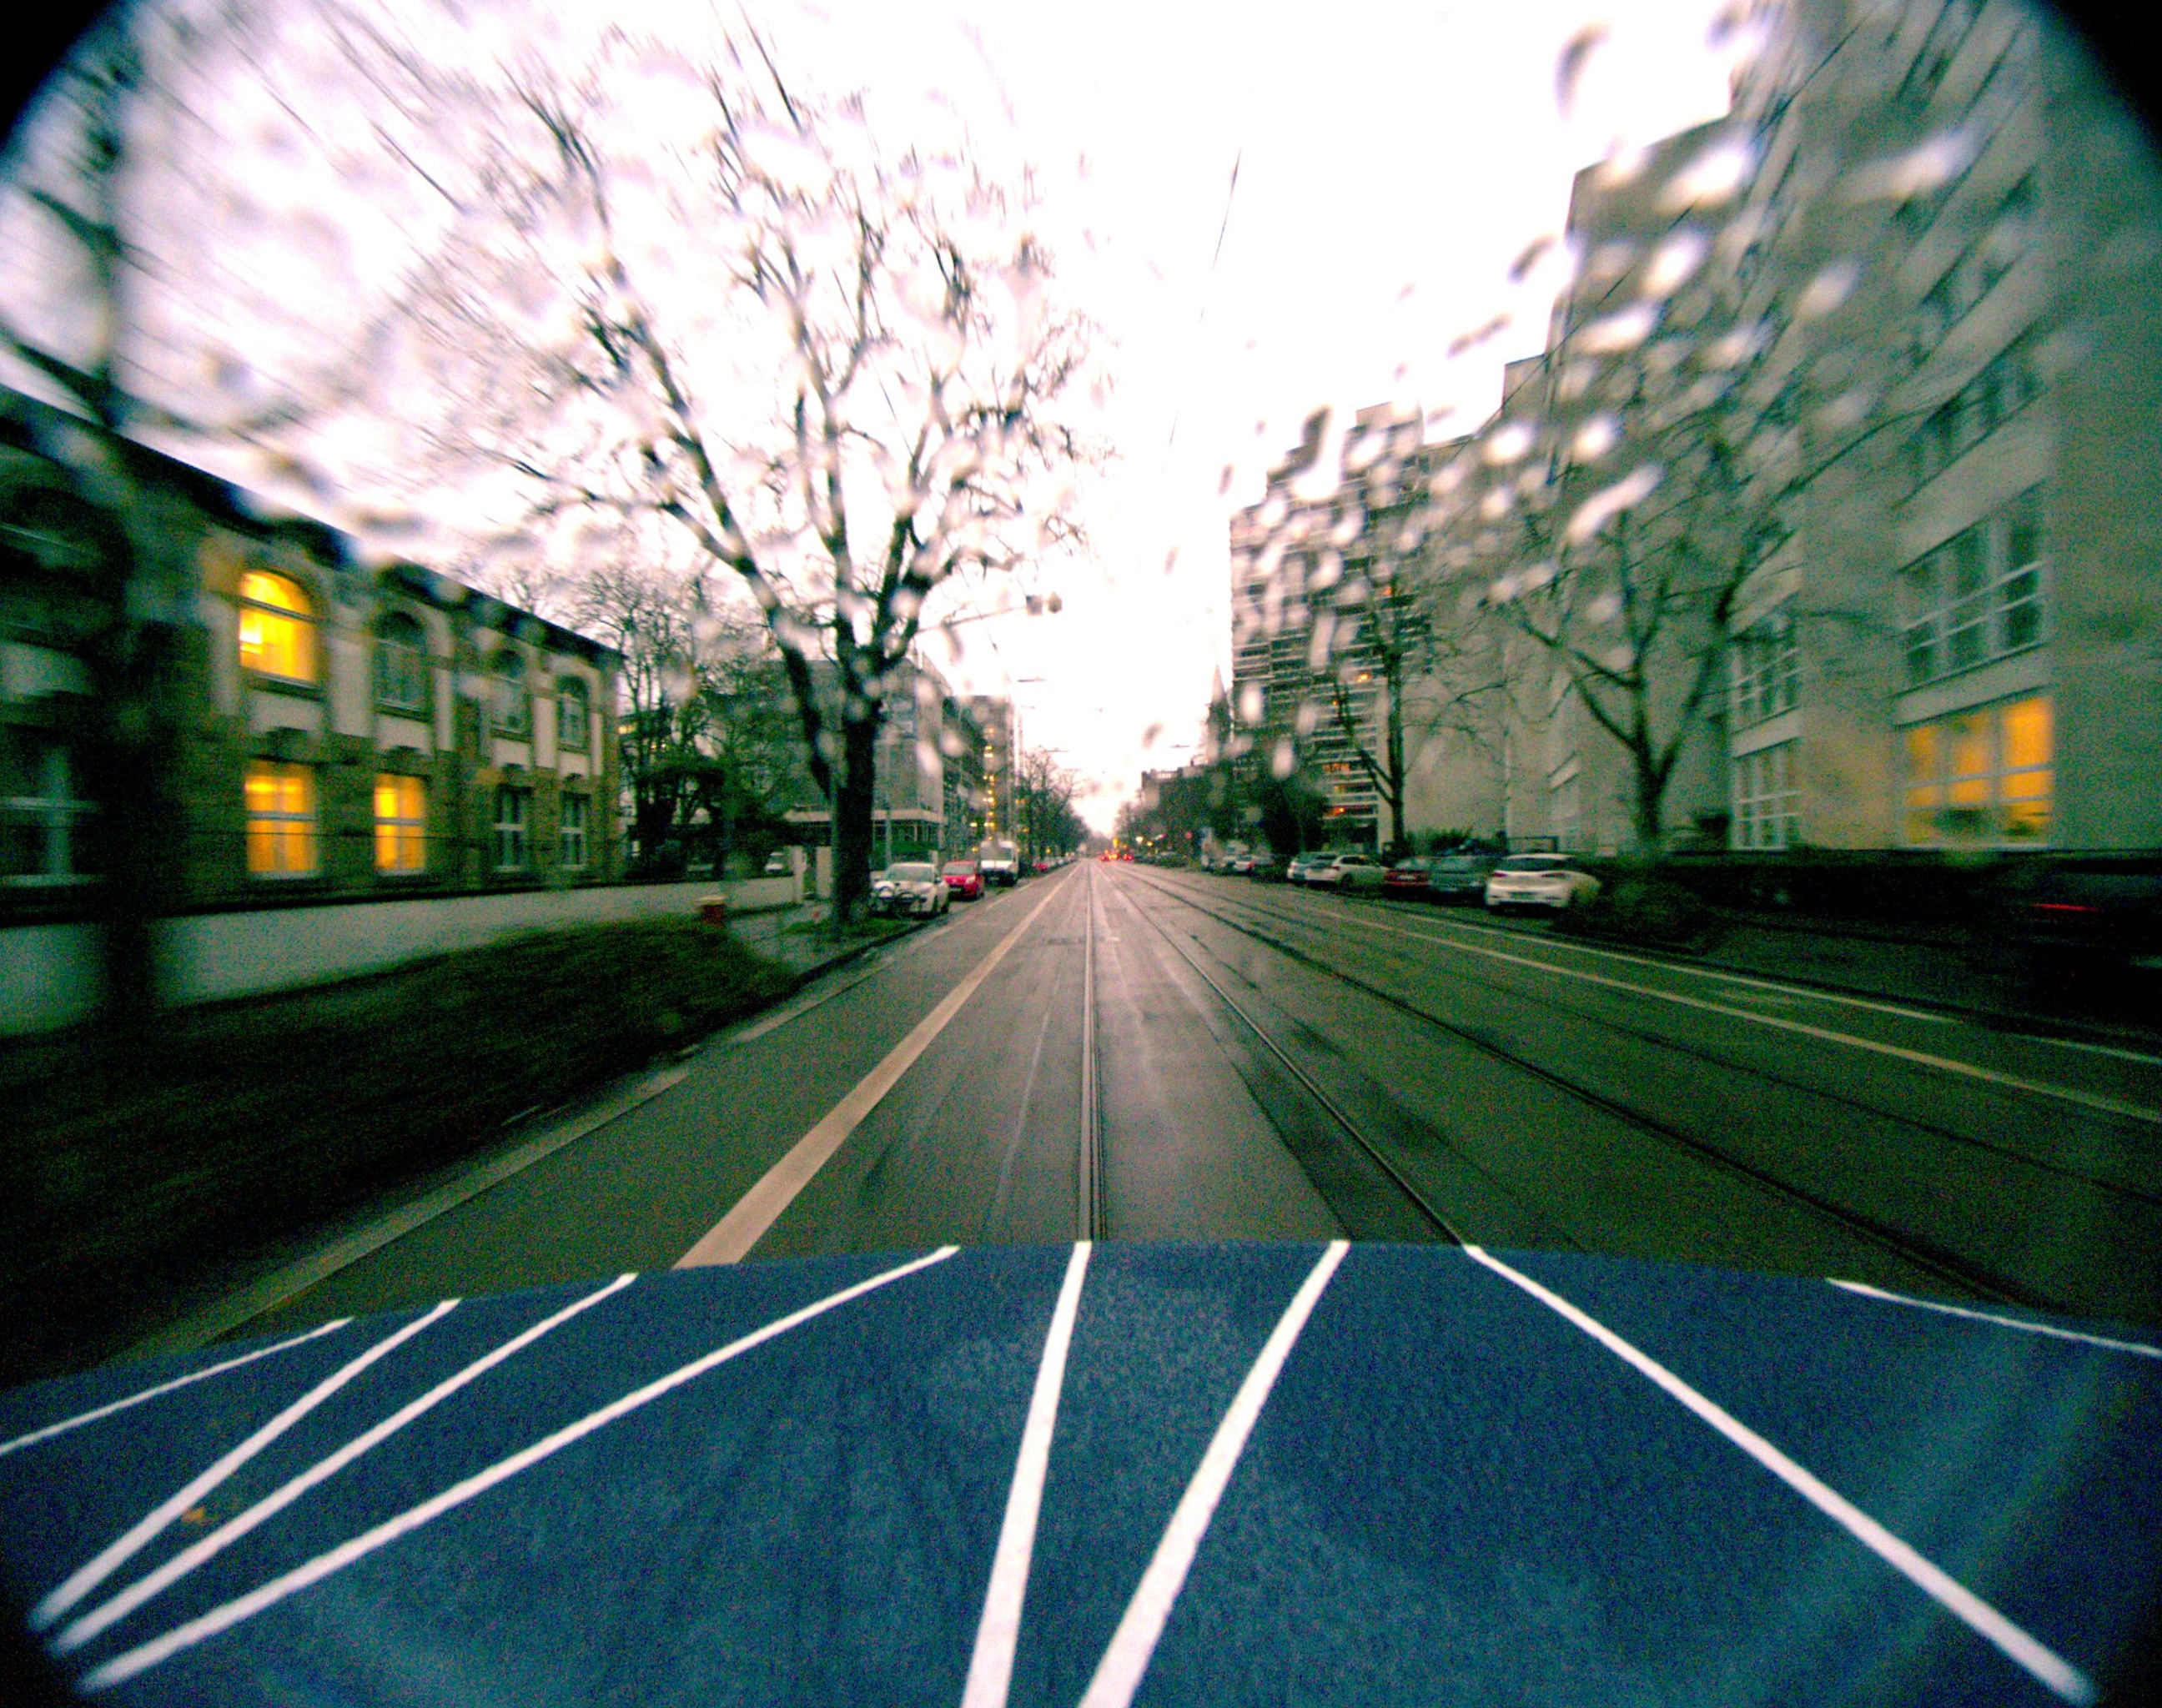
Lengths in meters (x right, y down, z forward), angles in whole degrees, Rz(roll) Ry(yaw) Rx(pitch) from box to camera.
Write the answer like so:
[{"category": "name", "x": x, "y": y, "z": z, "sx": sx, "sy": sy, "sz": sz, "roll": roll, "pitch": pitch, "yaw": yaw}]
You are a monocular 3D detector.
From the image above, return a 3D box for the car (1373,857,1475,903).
[{"category": "car", "x": 11.325, "y": 0.792, "z": 24.934, "sx": 1.744, "sy": 1.344, "sz": 4.357, "roll": 1, "pitch": 1, "yaw": 43}]

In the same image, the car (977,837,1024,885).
[{"category": "car", "x": -4.325, "y": 0.379, "z": 41.706, "sx": 2.130, "sy": 2.472, "sz": 5.438, "roll": 0, "pitch": 0, "yaw": -2}]

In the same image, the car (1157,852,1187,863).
[{"category": "car", "x": 12.250, "y": 0.437, "z": 102.046, "sx": 3.995, "sy": 1.477, "sz": 1.673, "roll": 0, "pitch": 0, "yaw": 7}]

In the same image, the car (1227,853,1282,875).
[{"category": "car", "x": 11.766, "y": 0.641, "z": 51.410, "sx": 1.788, "sy": 1.437, "sz": 4.009, "roll": -1, "pitch": 0, "yaw": 45}]

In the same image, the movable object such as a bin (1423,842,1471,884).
[{"category": "movable object such as a bin", "x": 16.783, "y": 0.421, "z": 34.890, "sx": 1.573, "sy": 1.849, "sz": 1.318, "roll": 0, "pitch": -1, "yaw": 2}]

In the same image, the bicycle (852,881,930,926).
[{"category": "bicycle", "x": -4.632, "y": 1.206, "z": 18.561, "sx": 1.717, "sy": 1.064, "sz": 0.663, "roll": 0, "pitch": 0, "yaw": 1}]

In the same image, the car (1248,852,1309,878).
[{"category": "car", "x": 11.665, "y": 0.635, "z": 44.802, "sx": 3.862, "sy": 1.484, "sz": 1.691, "roll": 0, "pitch": 0, "yaw": -43}]

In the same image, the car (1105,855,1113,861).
[{"category": "car", "x": 6.572, "y": 0.966, "z": 178.211, "sx": 1.752, "sy": 1.535, "sz": 4.296, "roll": 0, "pitch": 0, "yaw": 1}]

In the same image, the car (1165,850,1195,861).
[{"category": "car", "x": 13.753, "y": 0.220, "z": 105.578, "sx": 3.995, "sy": 1.477, "sz": 1.673, "roll": 0, "pitch": 0, "yaw": 7}]

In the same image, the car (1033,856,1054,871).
[{"category": "car", "x": -3.699, "y": 0.945, "z": 75.120, "sx": 1.753, "sy": 1.379, "sz": 3.737, "roll": 0, "pitch": 0, "yaw": 2}]

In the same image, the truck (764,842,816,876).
[{"category": "truck", "x": -23.314, "y": 0.348, "z": 61.137, "sx": 2.132, "sy": 2.573, "sz": 7.075, "roll": 0, "pitch": 1, "yaw": -6}]

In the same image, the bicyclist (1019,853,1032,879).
[{"category": "bicyclist", "x": -3.671, "y": 0.763, "z": 49.961, "sx": 0.771, "sy": 1.679, "sz": 0.706, "roll": 0, "pitch": 0, "yaw": -13}]

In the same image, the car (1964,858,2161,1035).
[{"category": "car", "x": 10.661, "y": 0.797, "z": 7.805, "sx": 4.008, "sy": 1.462, "sz": 1.826, "roll": -1, "pitch": 0, "yaw": -44}]

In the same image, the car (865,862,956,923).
[{"category": "car", "x": -4.609, "y": 0.998, "z": 21.044, "sx": 1.696, "sy": 1.511, "sz": 3.637, "roll": 0, "pitch": 0, "yaw": 0}]

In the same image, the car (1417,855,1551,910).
[{"category": "car", "x": 11.770, "y": 0.755, "z": 22.133, "sx": 4.007, "sy": 1.455, "sz": 1.732, "roll": 0, "pitch": 1, "yaw": -34}]

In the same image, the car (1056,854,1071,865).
[{"category": "car", "x": -2.639, "y": 0.842, "z": 114.983, "sx": 1.866, "sy": 1.584, "sz": 4.001, "roll": 0, "pitch": 0, "yaw": 3}]

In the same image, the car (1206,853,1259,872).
[{"category": "car", "x": 11.516, "y": 0.628, "z": 57.594, "sx": 4.008, "sy": 1.370, "sz": 1.851, "roll": 0, "pitch": 0, "yaw": -41}]

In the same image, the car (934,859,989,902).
[{"category": "car", "x": -4.608, "y": 0.990, "z": 29.729, "sx": 1.647, "sy": 1.514, "sz": 3.572, "roll": -1, "pitch": 0, "yaw": -2}]

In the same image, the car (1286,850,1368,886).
[{"category": "car", "x": 11.222, "y": 0.618, "z": 34.545, "sx": 4.008, "sy": 1.554, "sz": 1.732, "roll": 0, "pitch": 0, "yaw": -41}]

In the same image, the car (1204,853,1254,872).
[{"category": "car", "x": 11.988, "y": 0.659, "z": 61.460, "sx": 4.008, "sy": 1.454, "sz": 1.851, "roll": 0, "pitch": 0, "yaw": -41}]

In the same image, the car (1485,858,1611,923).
[{"category": "car", "x": 11.374, "y": 0.805, "z": 18.400, "sx": 3.861, "sy": 1.415, "sz": 1.732, "roll": 0, "pitch": 0, "yaw": -45}]

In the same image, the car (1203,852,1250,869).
[{"category": "car", "x": 12.341, "y": 0.568, "z": 64.440, "sx": 4.008, "sy": 1.391, "sz": 1.851, "roll": 0, "pitch": 0, "yaw": -41}]

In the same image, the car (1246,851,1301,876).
[{"category": "car", "x": 12.265, "y": 0.595, "z": 48.423, "sx": 3.458, "sy": 1.484, "sz": 1.725, "roll": 0, "pitch": 0, "yaw": -41}]

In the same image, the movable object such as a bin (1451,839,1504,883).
[{"category": "movable object such as a bin", "x": 16.724, "y": 0.306, "z": 32.108, "sx": 1.573, "sy": 1.849, "sz": 1.318, "roll": 0, "pitch": -1, "yaw": 2}]

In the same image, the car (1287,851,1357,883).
[{"category": "car", "x": 12.182, "y": 0.639, "z": 38.295, "sx": 3.885, "sy": 1.542, "sz": 1.688, "roll": 0, "pitch": 0, "yaw": -44}]

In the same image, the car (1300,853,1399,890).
[{"category": "car", "x": 11.093, "y": 0.679, "z": 31.307, "sx": 4.007, "sy": 1.435, "sz": 1.732, "roll": 0, "pitch": 1, "yaw": -32}]

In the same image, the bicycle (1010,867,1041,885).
[{"category": "bicycle", "x": -3.663, "y": 1.450, "z": 49.965, "sx": 1.895, "sy": 1.126, "sz": 0.730, "roll": 0, "pitch": 0, "yaw": -14}]

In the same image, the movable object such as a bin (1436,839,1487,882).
[{"category": "movable object such as a bin", "x": 16.752, "y": 0.296, "z": 33.493, "sx": 1.573, "sy": 1.849, "sz": 1.394, "roll": 0, "pitch": -1, "yaw": 2}]

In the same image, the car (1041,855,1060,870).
[{"category": "car", "x": -3.355, "y": 0.902, "z": 83.962, "sx": 1.753, "sy": 1.575, "sz": 3.737, "roll": 0, "pitch": 0, "yaw": 2}]
